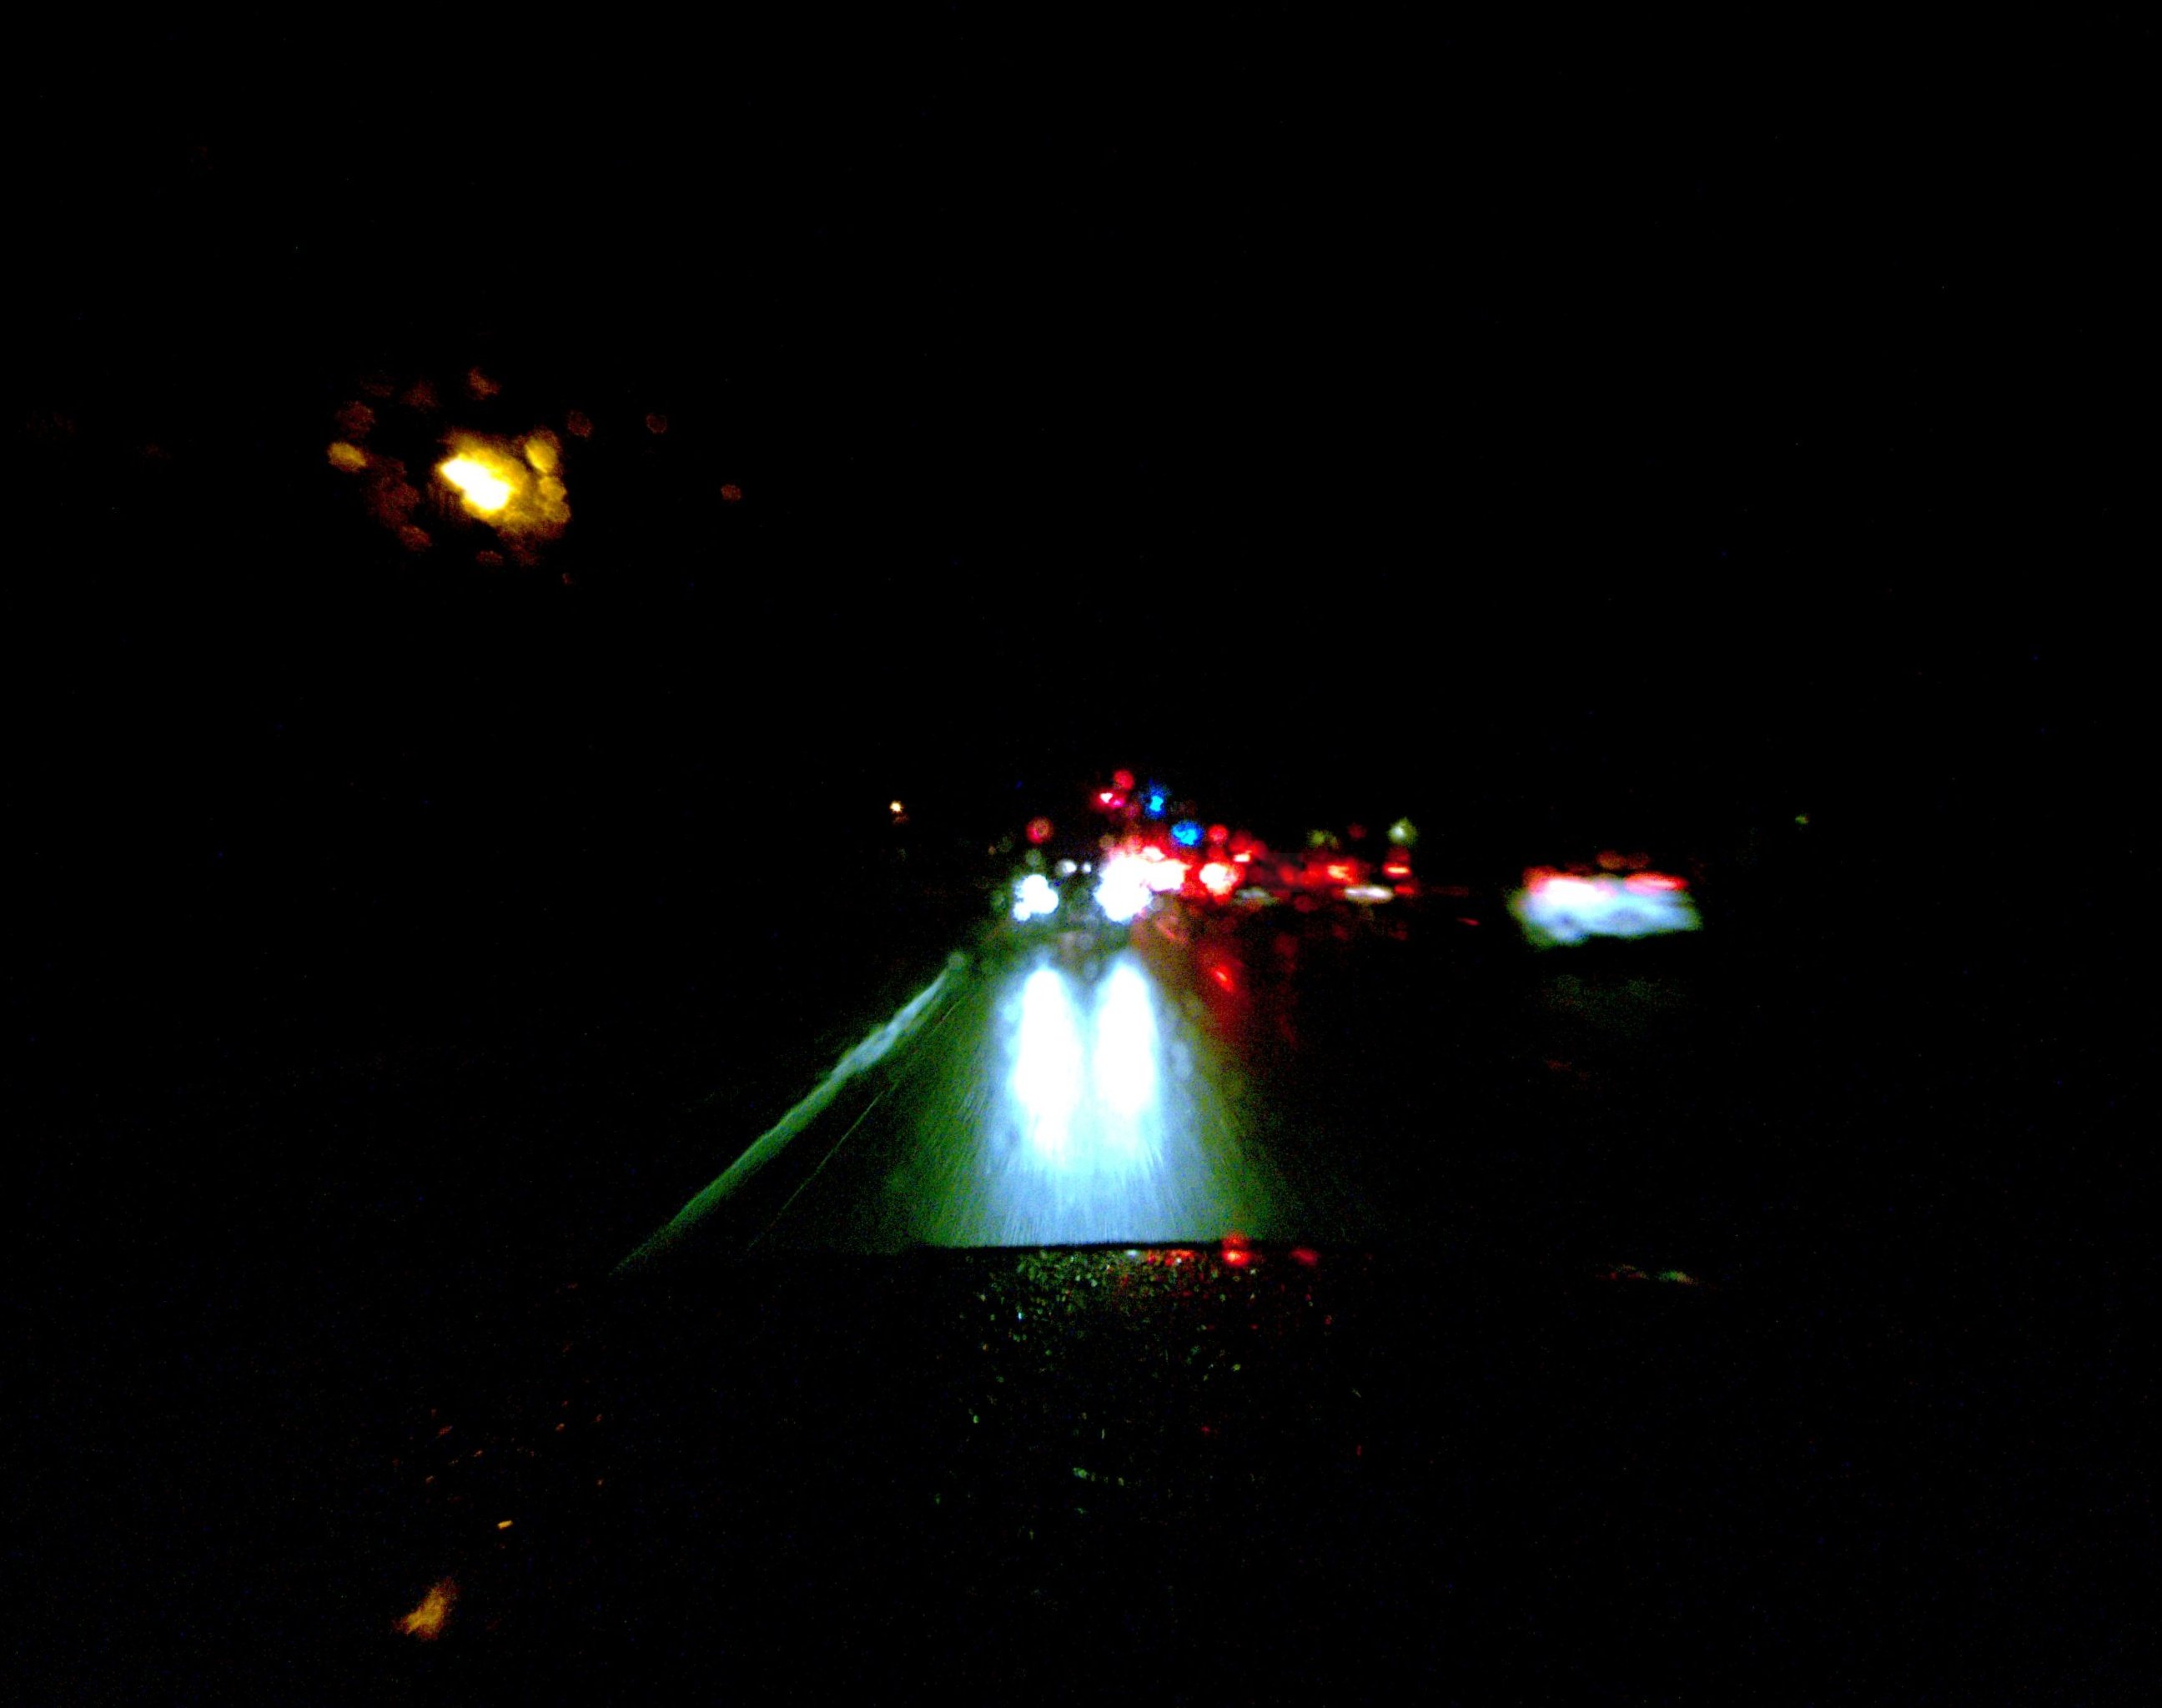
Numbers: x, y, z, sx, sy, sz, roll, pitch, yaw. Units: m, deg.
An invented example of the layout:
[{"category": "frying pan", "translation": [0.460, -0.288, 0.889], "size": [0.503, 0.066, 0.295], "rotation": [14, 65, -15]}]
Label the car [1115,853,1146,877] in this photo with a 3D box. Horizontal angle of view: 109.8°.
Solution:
[{"category": "car", "translation": [3.186, 0.696, 49.911], "size": [1.673, 1.464, 3.633], "rotation": [-2, 0, -1]}]

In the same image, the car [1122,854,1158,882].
[{"category": "car", "translation": [3.300, 0.772, 43.417], "size": [1.626, 1.464, 3.884], "rotation": [-2, 0, -1]}]

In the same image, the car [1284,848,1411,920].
[{"category": "car", "translation": [6.258, 0.641, 18.310], "size": [1.724, 1.499, 3.827], "rotation": [-2, 0, 1]}]

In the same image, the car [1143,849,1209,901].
[{"category": "car", "translation": [3.176, 0.670, 26.258], "size": [1.848, 1.565, 4.597], "rotation": [-2, 0, 2]}]

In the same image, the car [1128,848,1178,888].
[{"category": "car", "translation": [3.248, 0.585, 34.988], "size": [1.849, 1.659, 4.445], "rotation": [-2, 0, 0]}]

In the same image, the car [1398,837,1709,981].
[{"category": "car", "translation": [6.276, 0.623, 10.804], "size": [1.724, 1.579, 4.312], "rotation": [-2, 0, 0]}]

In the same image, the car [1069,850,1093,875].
[{"category": "car", "translation": [0.042, 0.665, 60.598], "size": [1.759, 1.807, 4.710], "rotation": [-3, 0, 2]}]

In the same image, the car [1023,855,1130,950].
[{"category": "car", "translation": [-0.103, 0.844, 15.547], "size": [1.810, 1.590, 4.786], "rotation": [-2, 0, 0]}]

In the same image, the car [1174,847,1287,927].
[{"category": "car", "translation": [3.439, 0.685, 18.310], "size": [1.809, 1.620, 4.415], "rotation": [-2, 0, 0]}]
